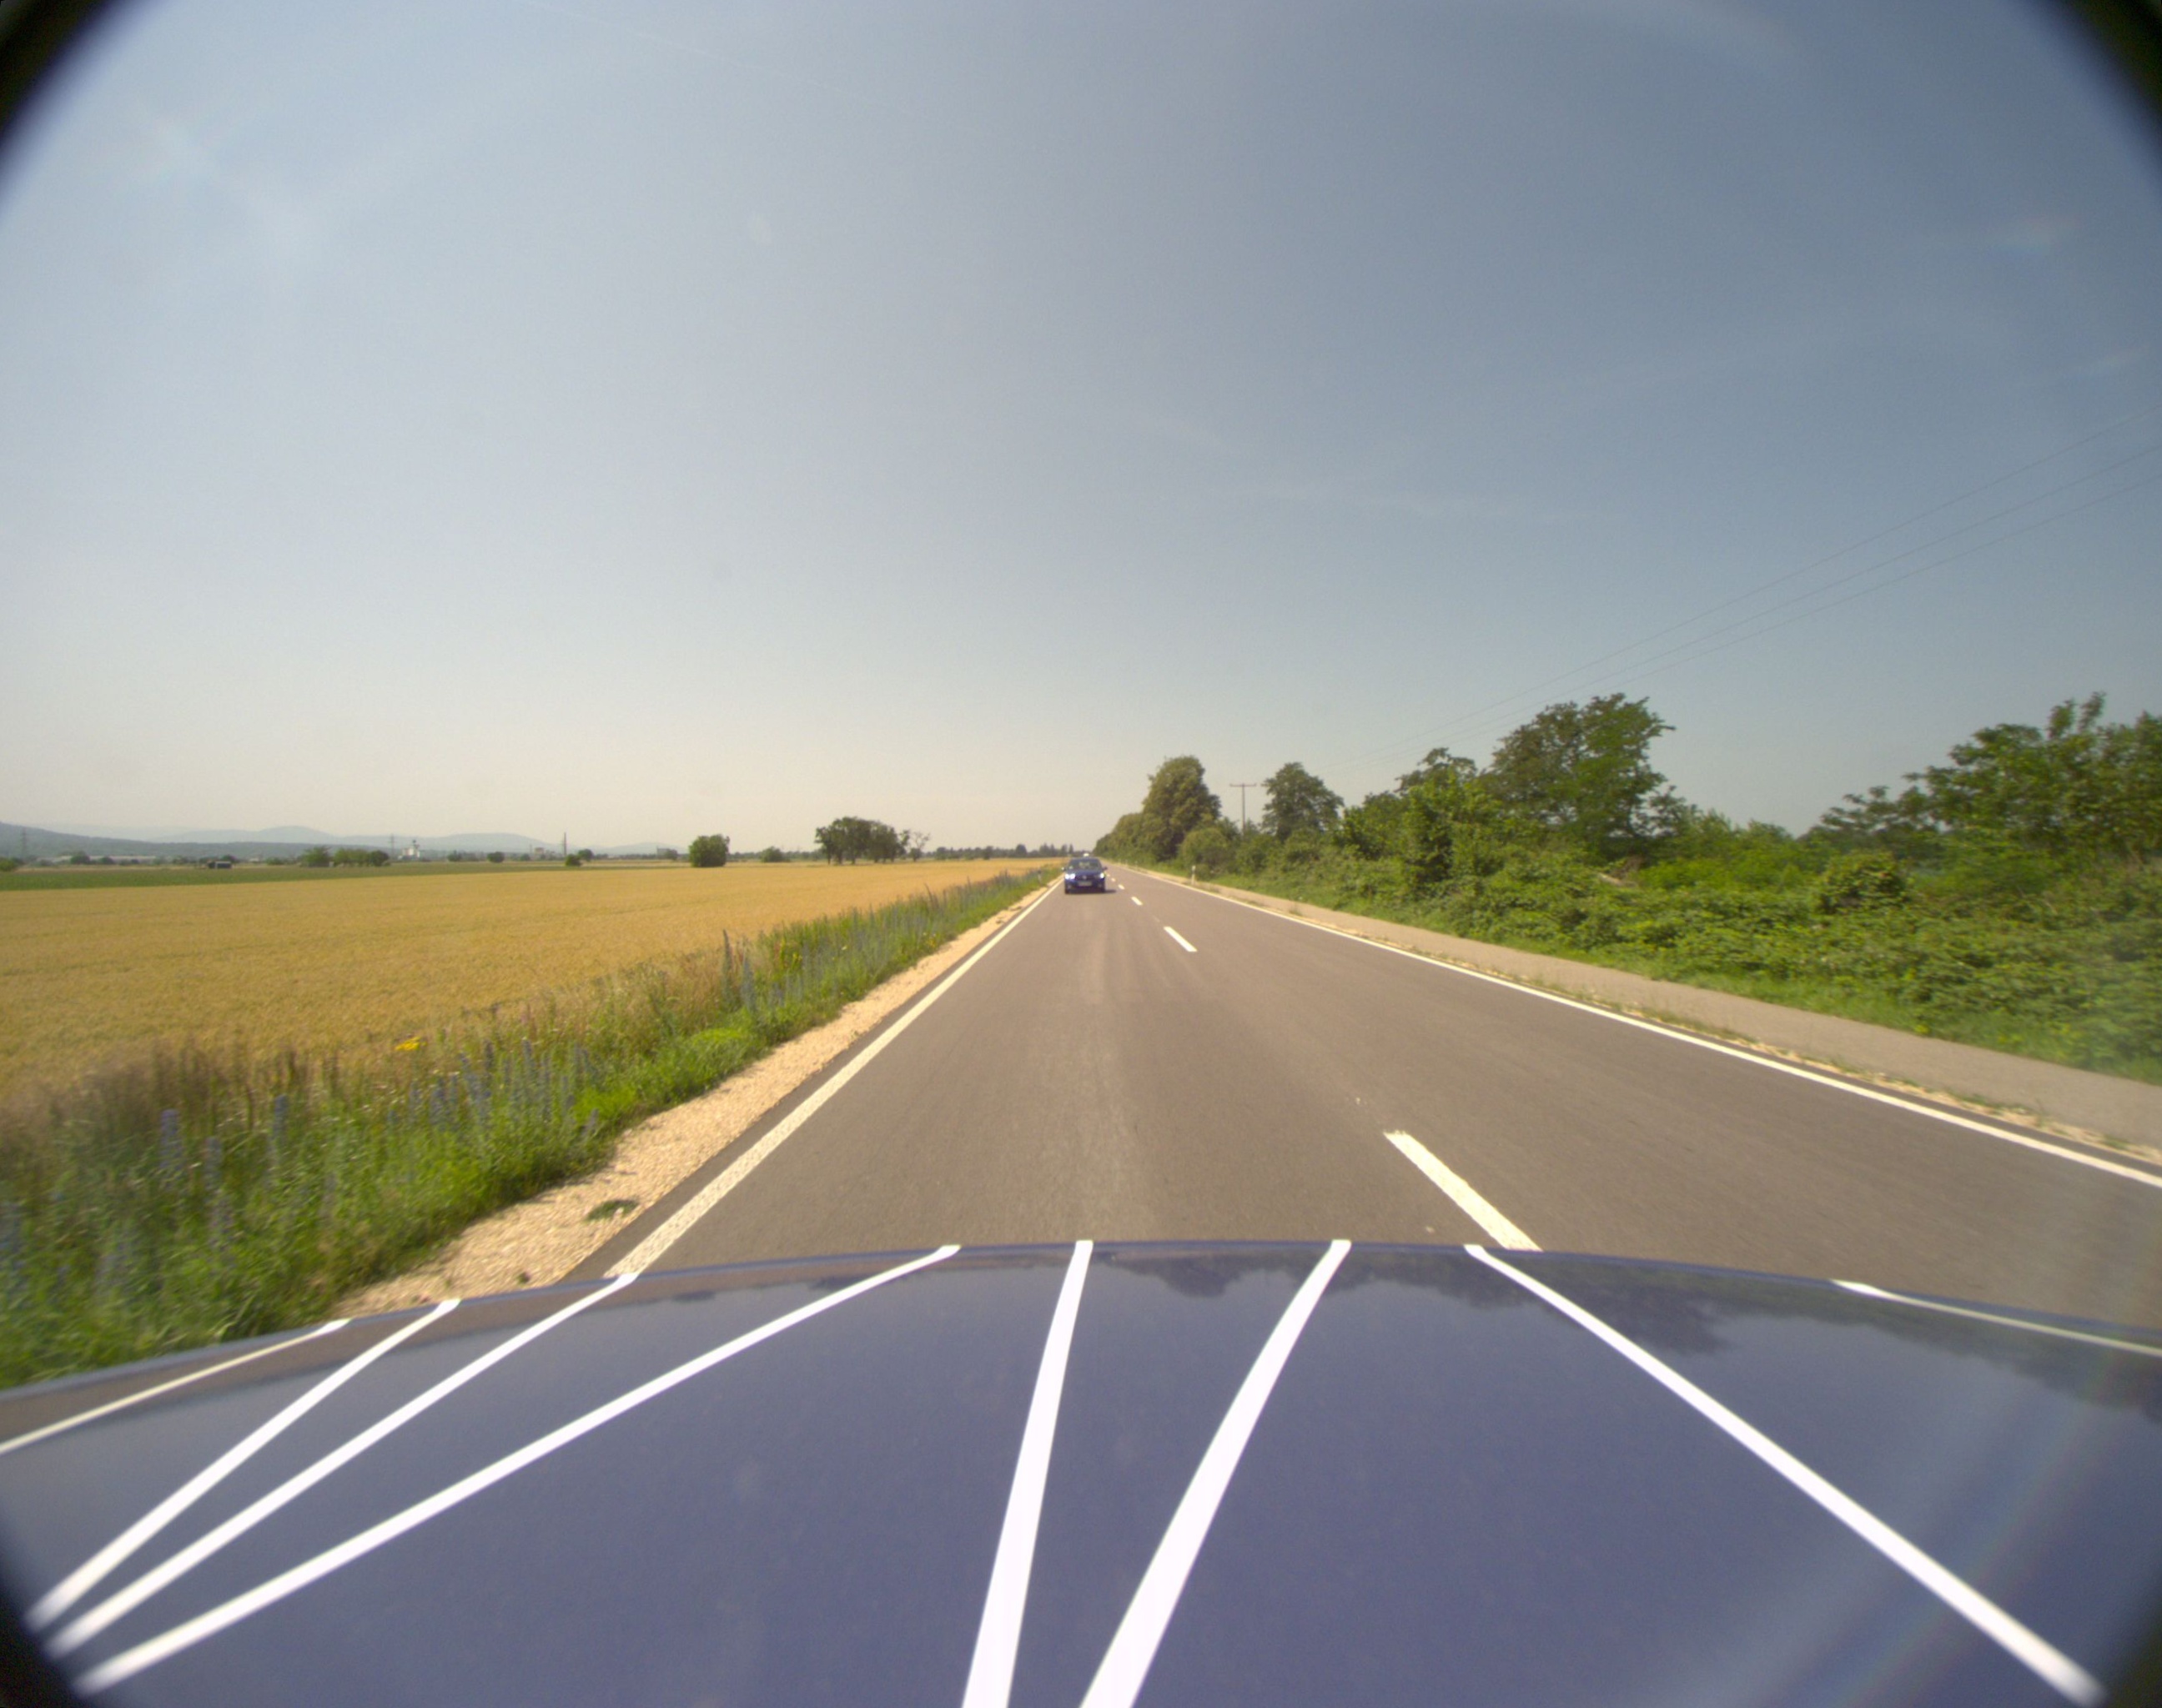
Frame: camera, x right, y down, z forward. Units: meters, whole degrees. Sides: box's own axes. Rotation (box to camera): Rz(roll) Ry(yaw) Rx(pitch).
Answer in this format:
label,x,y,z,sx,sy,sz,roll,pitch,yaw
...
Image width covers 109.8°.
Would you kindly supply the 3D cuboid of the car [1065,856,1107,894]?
label,x,y,z,sx,sy,sz,roll,pitch,yaw
car,0.208,0.875,33.307,1.662,1.508,4.000,-2,0,0
